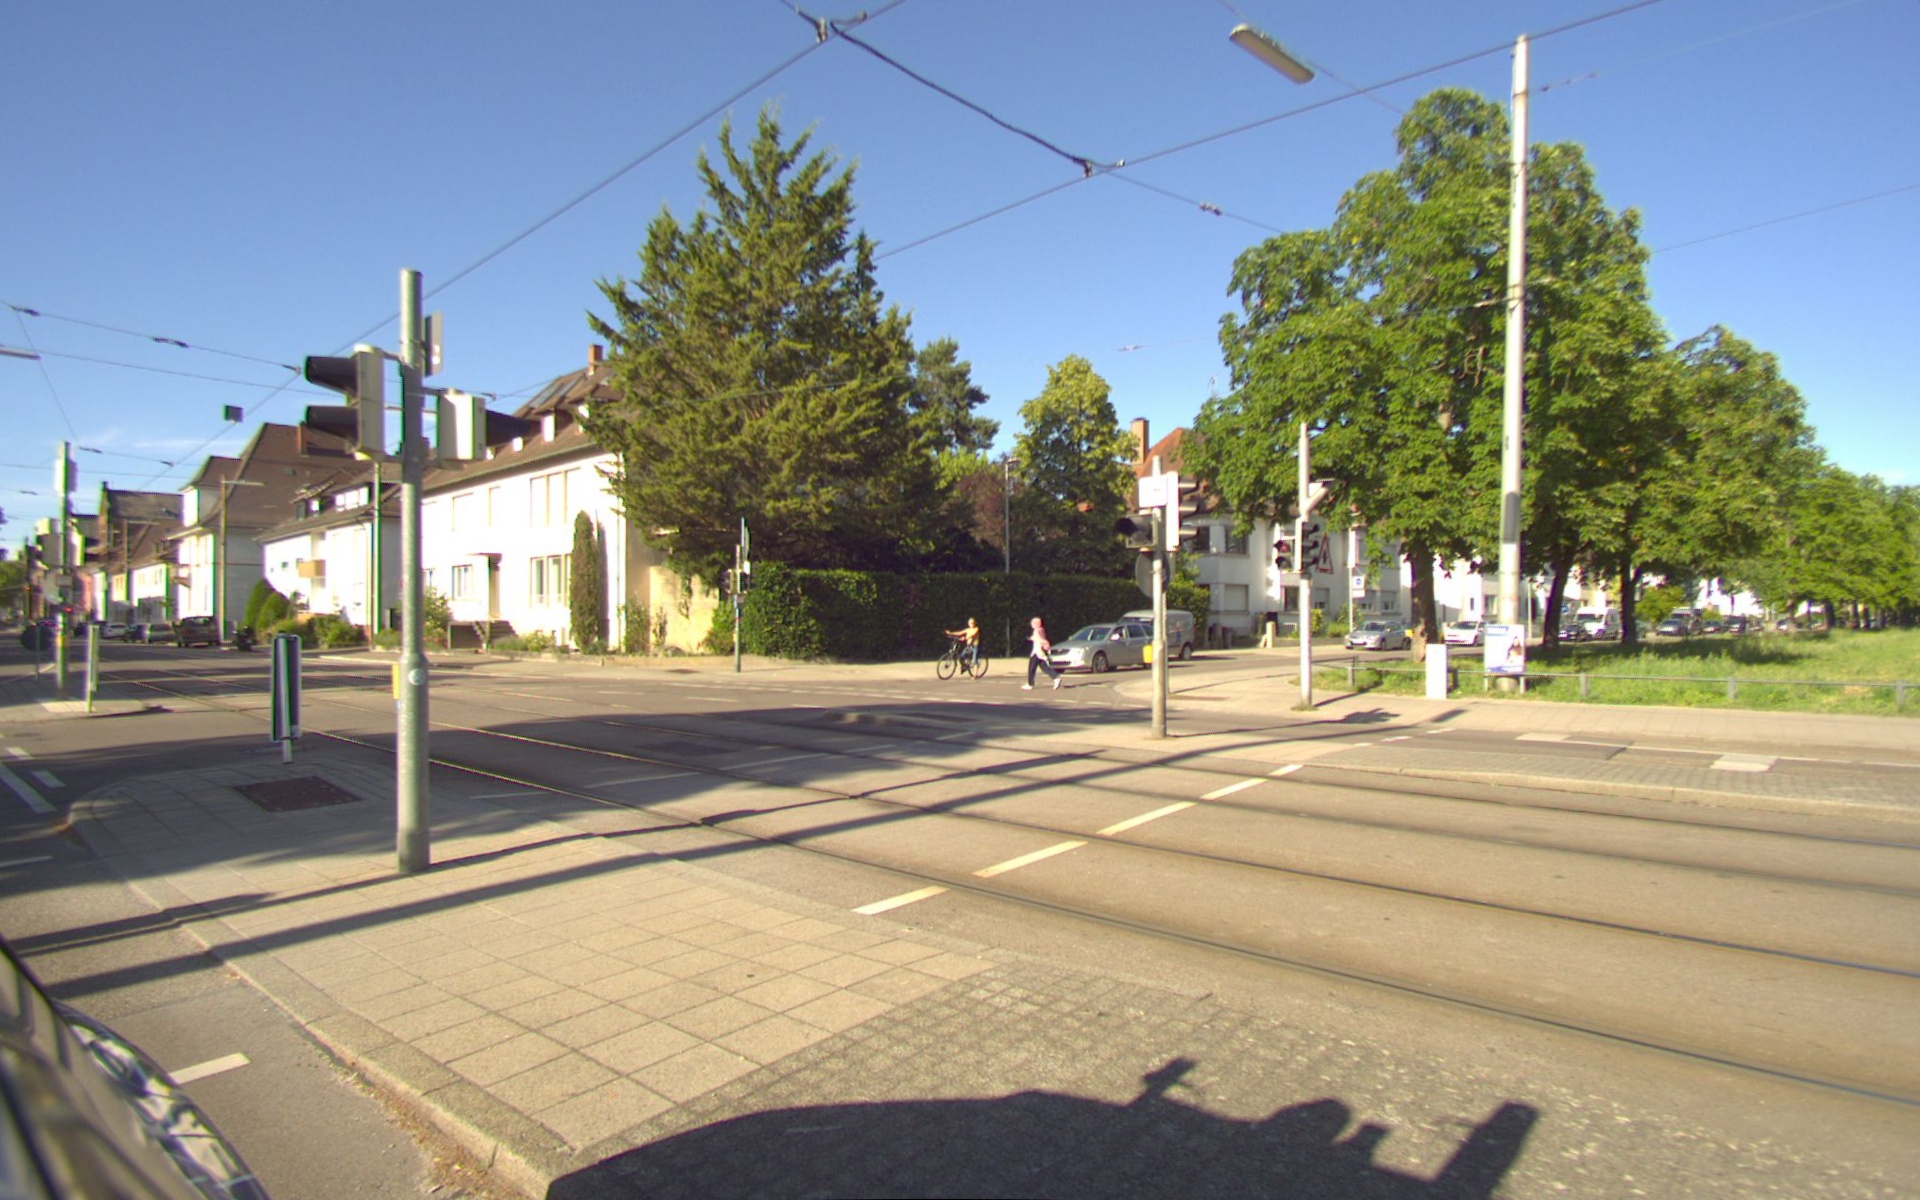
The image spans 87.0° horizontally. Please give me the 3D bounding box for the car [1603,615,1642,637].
[{"bbox_3d":[53.918,2.112,82.353,3.829,1.756,1.818,1,-2,-44],"label":"car"}]

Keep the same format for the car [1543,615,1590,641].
[{"bbox_3d":[42.168,1.931,70.336,3.829,1.756,1.818,1,-2,-44],"label":"car"}]

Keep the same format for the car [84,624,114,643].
[{"bbox_3d":[-84.570,3.297,99.397,1.897,1.728,4.003,-2,0,-44],"label":"car"}]

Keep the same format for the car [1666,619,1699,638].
[{"bbox_3d":[68.082,2.640,95.386,3.829,1.756,1.818,1,-2,-44],"label":"car"}]

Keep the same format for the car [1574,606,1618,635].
[{"bbox_3d":[46.866,1.523,74.563,4.121,2.110,1.818,1,-2,-44],"label":"car"}]

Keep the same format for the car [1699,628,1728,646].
[{"bbox_3d":[77.361,3.750,103.873,3.829,1.756,1.818,1,-2,-44],"label":"car"}]

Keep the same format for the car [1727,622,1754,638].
[{"bbox_3d":[88.195,3.428,114.368,3.829,1.756,1.818,1,-2,-44],"label":"car"}]

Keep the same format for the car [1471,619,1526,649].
[{"bbox_3d":[32.521,2.034,61.101,3.829,1.756,1.818,1,-2,-44],"label":"car"}]

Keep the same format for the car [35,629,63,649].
[{"bbox_3d":[-84.483,3.596,93.847,1.896,1.728,4.005,-2,0,-42],"label":"car"}]

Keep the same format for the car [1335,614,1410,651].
[{"bbox_3d":[20.132,1.557,49.312,4.138,1.756,1.818,1,-2,-44],"label":"car"}]

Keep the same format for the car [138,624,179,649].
[{"bbox_3d":[-58.872,2.672,74.307,4.002,1.728,1.897,-2,0,45],"label":"car"}]

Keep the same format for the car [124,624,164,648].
[{"bbox_3d":[-62.546,2.738,77.560,4.001,1.728,1.898,-2,0,44],"label":"car"}]

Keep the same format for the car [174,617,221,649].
[{"bbox_3d":[-48.277,2.077,64.021,1.897,1.915,4.004,-2,0,-43],"label":"car"}]

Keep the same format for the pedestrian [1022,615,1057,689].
[{"bbox_3d":[1.756,1.131,22.351,0.614,1.568,0.679,-2,0,-5],"label":"pedestrian"}]

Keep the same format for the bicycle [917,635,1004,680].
[{"bbox_3d":[0.029,1.513,26.972,2.250,1.126,0.932,1,-2,-38],"label":"bicycle"}]

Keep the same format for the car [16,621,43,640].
[{"bbox_3d":[-91.158,2.992,99.194,1.896,1.728,4.005,-2,0,-42],"label":"car"}]

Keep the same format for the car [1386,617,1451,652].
[{"bbox_3d":[23.880,1.769,52.671,3.829,1.756,1.818,1,-2,-44],"label":"car"}]

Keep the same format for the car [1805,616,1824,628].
[{"bbox_3d":[131.336,3.351,155.584,3.829,1.756,1.818,1,-2,-44],"label":"car"}]

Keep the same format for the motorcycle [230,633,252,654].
[{"bbox_3d":[-37.928,2.279,53.365,0.597,1.054,2.439,-2,0,-44],"label":"motorcycle"}]

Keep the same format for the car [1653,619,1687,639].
[{"bbox_3d":[64.383,2.594,91.755,3.829,1.756,1.818,1,-2,-44],"label":"car"}]

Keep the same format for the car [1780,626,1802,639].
[{"bbox_3d":[112.249,4.372,136.666,3.829,1.756,1.818,1,-2,-44],"label":"car"}]

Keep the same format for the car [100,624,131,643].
[{"bbox_3d":[-74.230,2.923,88.901,1.896,1.576,4.005,-2,0,-42],"label":"car"}]

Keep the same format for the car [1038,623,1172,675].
[{"bbox_3d":[4.394,1.422,30.373,3.937,1.444,1.819,1,-2,-41],"label":"car"}]

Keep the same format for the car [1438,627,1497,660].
[{"bbox_3d":[28.985,2.452,57.772,3.829,1.756,1.818,1,-2,-44],"label":"car"}]

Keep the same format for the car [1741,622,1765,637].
[{"bbox_3d":[95.884,3.517,122.342,3.829,1.756,1.818,1,-2,-44],"label":"car"}]

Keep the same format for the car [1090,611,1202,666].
[{"bbox_3d":[6.725,1.348,36.415,4.251,1.881,1.818,1,-2,-44],"label":"car"}]

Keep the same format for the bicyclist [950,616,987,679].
[{"bbox_3d":[0.229,1.258,27.087,0.551,1.635,0.900,1,-2,-38],"label":"bicyclist"}]
